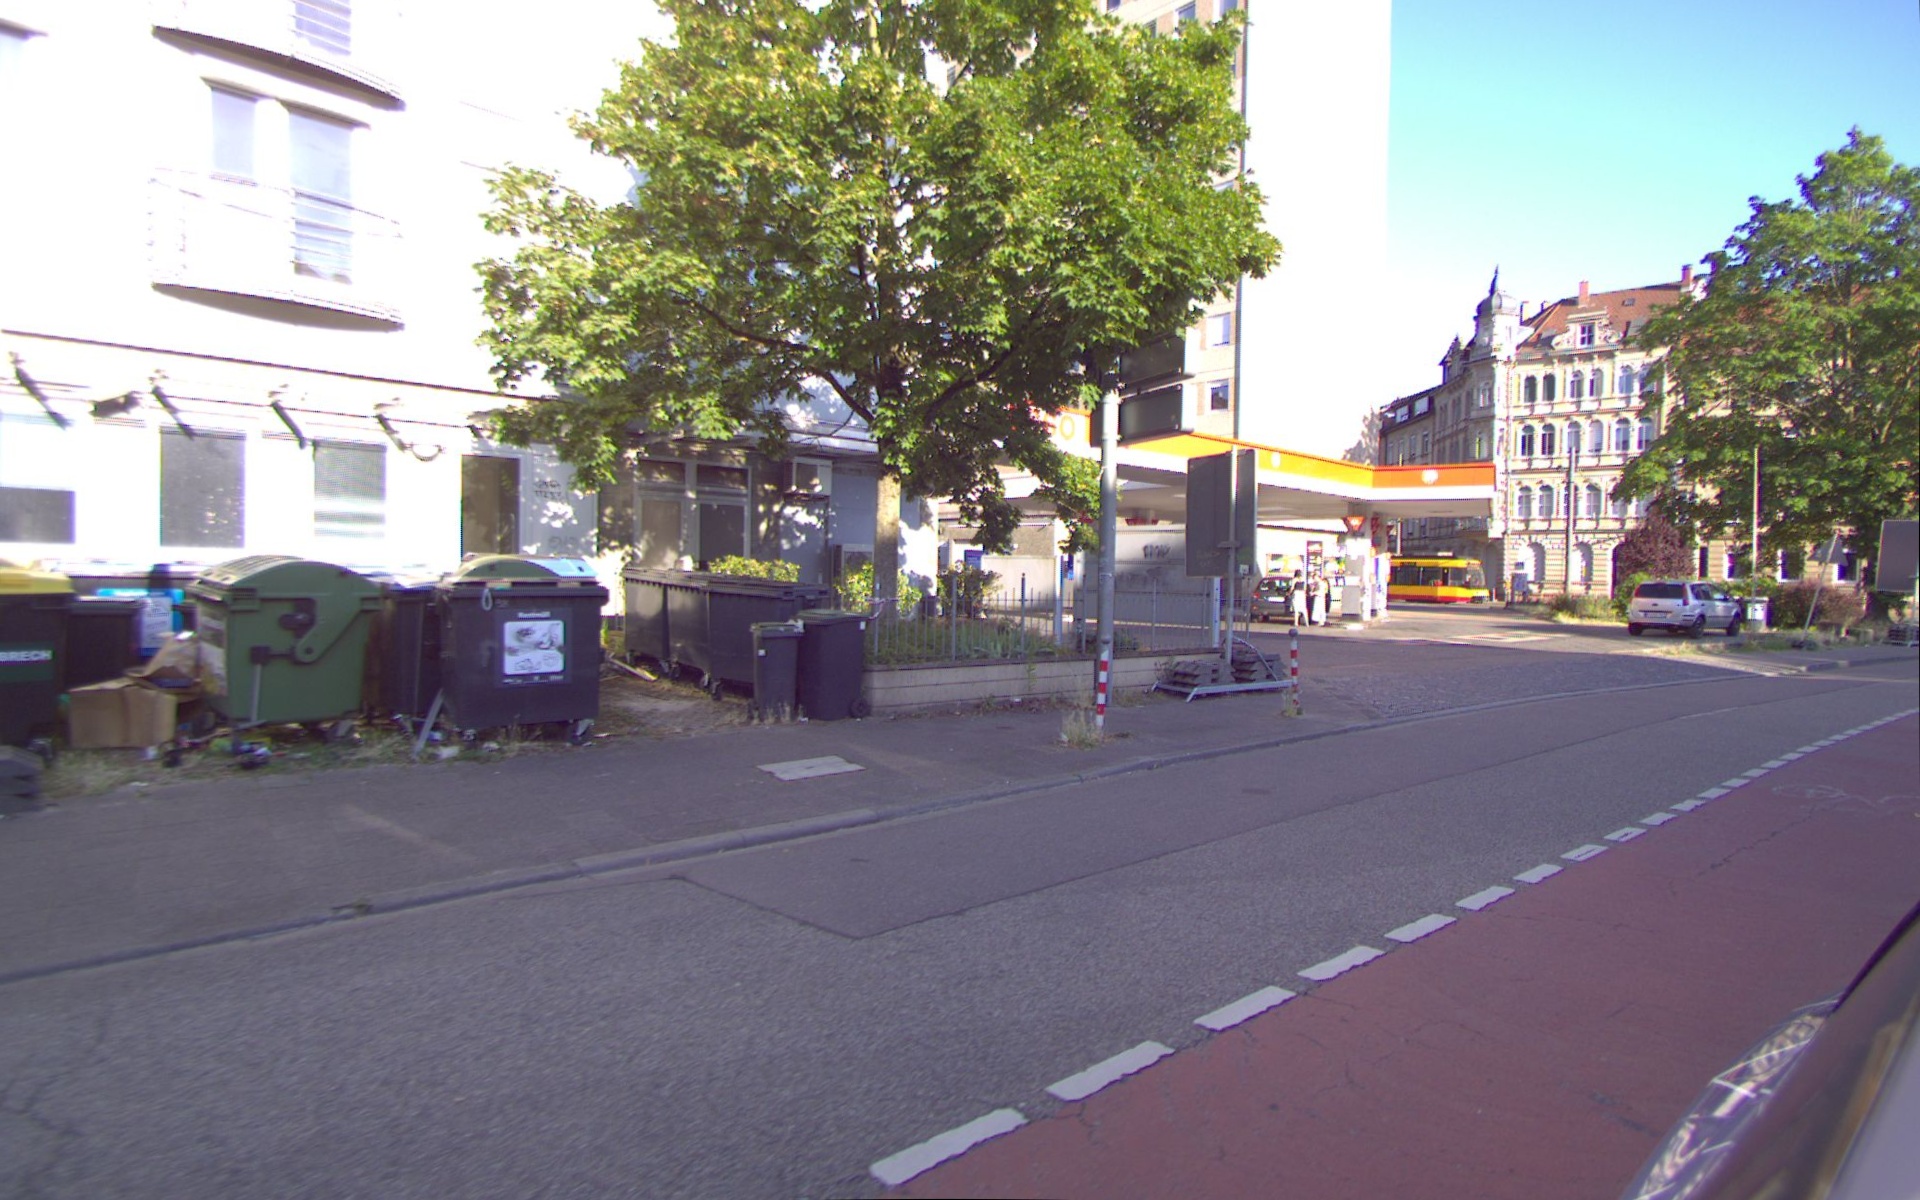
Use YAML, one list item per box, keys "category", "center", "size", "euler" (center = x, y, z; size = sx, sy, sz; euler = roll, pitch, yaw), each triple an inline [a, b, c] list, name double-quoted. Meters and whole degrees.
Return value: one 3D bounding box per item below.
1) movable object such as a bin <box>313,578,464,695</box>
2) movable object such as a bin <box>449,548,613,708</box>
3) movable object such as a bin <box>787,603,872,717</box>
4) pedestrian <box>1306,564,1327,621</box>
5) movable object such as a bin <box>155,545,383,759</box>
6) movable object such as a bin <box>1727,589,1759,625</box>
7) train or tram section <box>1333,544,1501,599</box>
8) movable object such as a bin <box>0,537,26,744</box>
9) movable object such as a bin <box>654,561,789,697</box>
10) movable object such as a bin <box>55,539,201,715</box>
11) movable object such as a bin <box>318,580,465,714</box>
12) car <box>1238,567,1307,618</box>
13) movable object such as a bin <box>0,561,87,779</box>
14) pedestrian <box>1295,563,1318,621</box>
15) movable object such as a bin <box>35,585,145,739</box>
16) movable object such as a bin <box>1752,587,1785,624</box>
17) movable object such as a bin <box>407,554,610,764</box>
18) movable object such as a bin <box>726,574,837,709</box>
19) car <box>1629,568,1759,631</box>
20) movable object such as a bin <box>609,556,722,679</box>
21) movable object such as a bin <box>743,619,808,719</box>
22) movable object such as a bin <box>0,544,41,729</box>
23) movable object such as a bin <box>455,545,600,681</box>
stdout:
- category: "movable object such as a bin"
  center: [-6.214, 0.348, 10.981]
  size: [1.220, 1.142, 1.423]
  euler: [0, 2, -39]
- category: "movable object such as a bin"
  center: [-4.366, 0.243, 10.259]
  size: [1.254, 1.451, 1.313]
  euler: [1, 2, -35]
- category: "movable object such as a bin"
  center: [-1.300, 0.576, 10.064]
  size: [0.605, 1.059, 0.621]
  euler: [0, 2, -38]
- category: "pedestrian"
  center: [10.536, -0.234, 29.917]
  size: [0.527, 1.641, 0.565]
  euler: [2, 1, 18]
- category: "movable object such as a bin"
  center: [-5.442, 0.336, 7.971]
  size: [1.325, 1.503, 1.193]
  euler: [2, 2, 40]
- category: "movable object such as a bin"
  center: [23.496, 0.215, 30.383]
  size: [0.661, 1.042, 0.573]
  euler: [0, 2, -36]
- category: "train or tram section"
  center: [31.645, -2.047, 70.834]
  size: [2.811, 3.551, 11.316]
  euler: [0, 2, -27]
- category: "movable object such as a bin"
  center: [-7.624, 0.279, 7.534]
  size: [0.940, 1.503, 1.105]
  euler: [0, 2, -41]
- category: "movable object such as a bin"
  center: [-2.746, 0.279, 11.557]
  size: [0.850, 1.427, 1.611]
  euler: [0, 2, -41]
- category: "movable object such as a bin"
  center: [-7.803, 0.204, 9.501]
  size: [0.999, 1.503, 1.329]
  euler: [0, 2, -41]
- category: "movable object such as a bin"
  center: [-5.438, 0.393, 9.652]
  size: [1.006, 1.143, 1.423]
  euler: [0, 2, -39]
- category: "car"
  center: [9.654, -0.278, 31.162]
  size: [1.574, 1.456, 3.275]
  euler: [2, 3, 25]
- category: "movable object such as a bin"
  center: [-6.581, 0.427, 6.639]
  size: [1.210, 1.361, 1.042]
  euler: [2, 2, 35]
- category: "pedestrian"
  center: [10.037, -0.244, 29.331]
  size: [0.529, 1.641, 0.563]
  euler: [2, 1, 26]
- category: "movable object such as a bin"
  center: [-7.056, 0.459, 8.245]
  size: [0.639, 1.143, 1.025]
  euler: [0, 2, -39]
- category: "movable object such as a bin"
  center: [23.869, 0.154, 29.871]
  size: [0.661, 1.042, 0.573]
  euler: [0, 2, -36]
- category: "movable object such as a bin"
  center: [-3.694, 0.404, 8.284]
  size: [1.232, 1.526, 1.095]
  euler: [-3, 4, -40]
- category: "movable object such as a bin"
  center: [-1.866, 0.399, 10.572]
  size: [0.850, 1.325, 0.779]
  euler: [0, 2, -41]
- category: "car"
  center: [20.142, -0.050, 27.726]
  size: [3.819, 1.613, 1.626]
  euler: [0, 2, -34]
- category: "movable object such as a bin"
  center: [-3.731, 0.182, 12.774]
  size: [0.850, 1.427, 1.408]
  euler: [0, 2, -41]
- category: "movable object such as a bin"
  center: [-1.784, 0.652, 9.784]
  size: [0.481, 0.918, 0.394]
  euler: [0, 2, -38]
- category: "movable object such as a bin"
  center: [-8.359, 0.282, 8.464]
  size: [0.939, 1.503, 1.128]
  euler: [0, 2, -40]
- category: "movable object such as a bin"
  center: [-5.022, 0.123, 11.724]
  size: [1.255, 1.438, 1.199]
  euler: [1, 2, -38]
